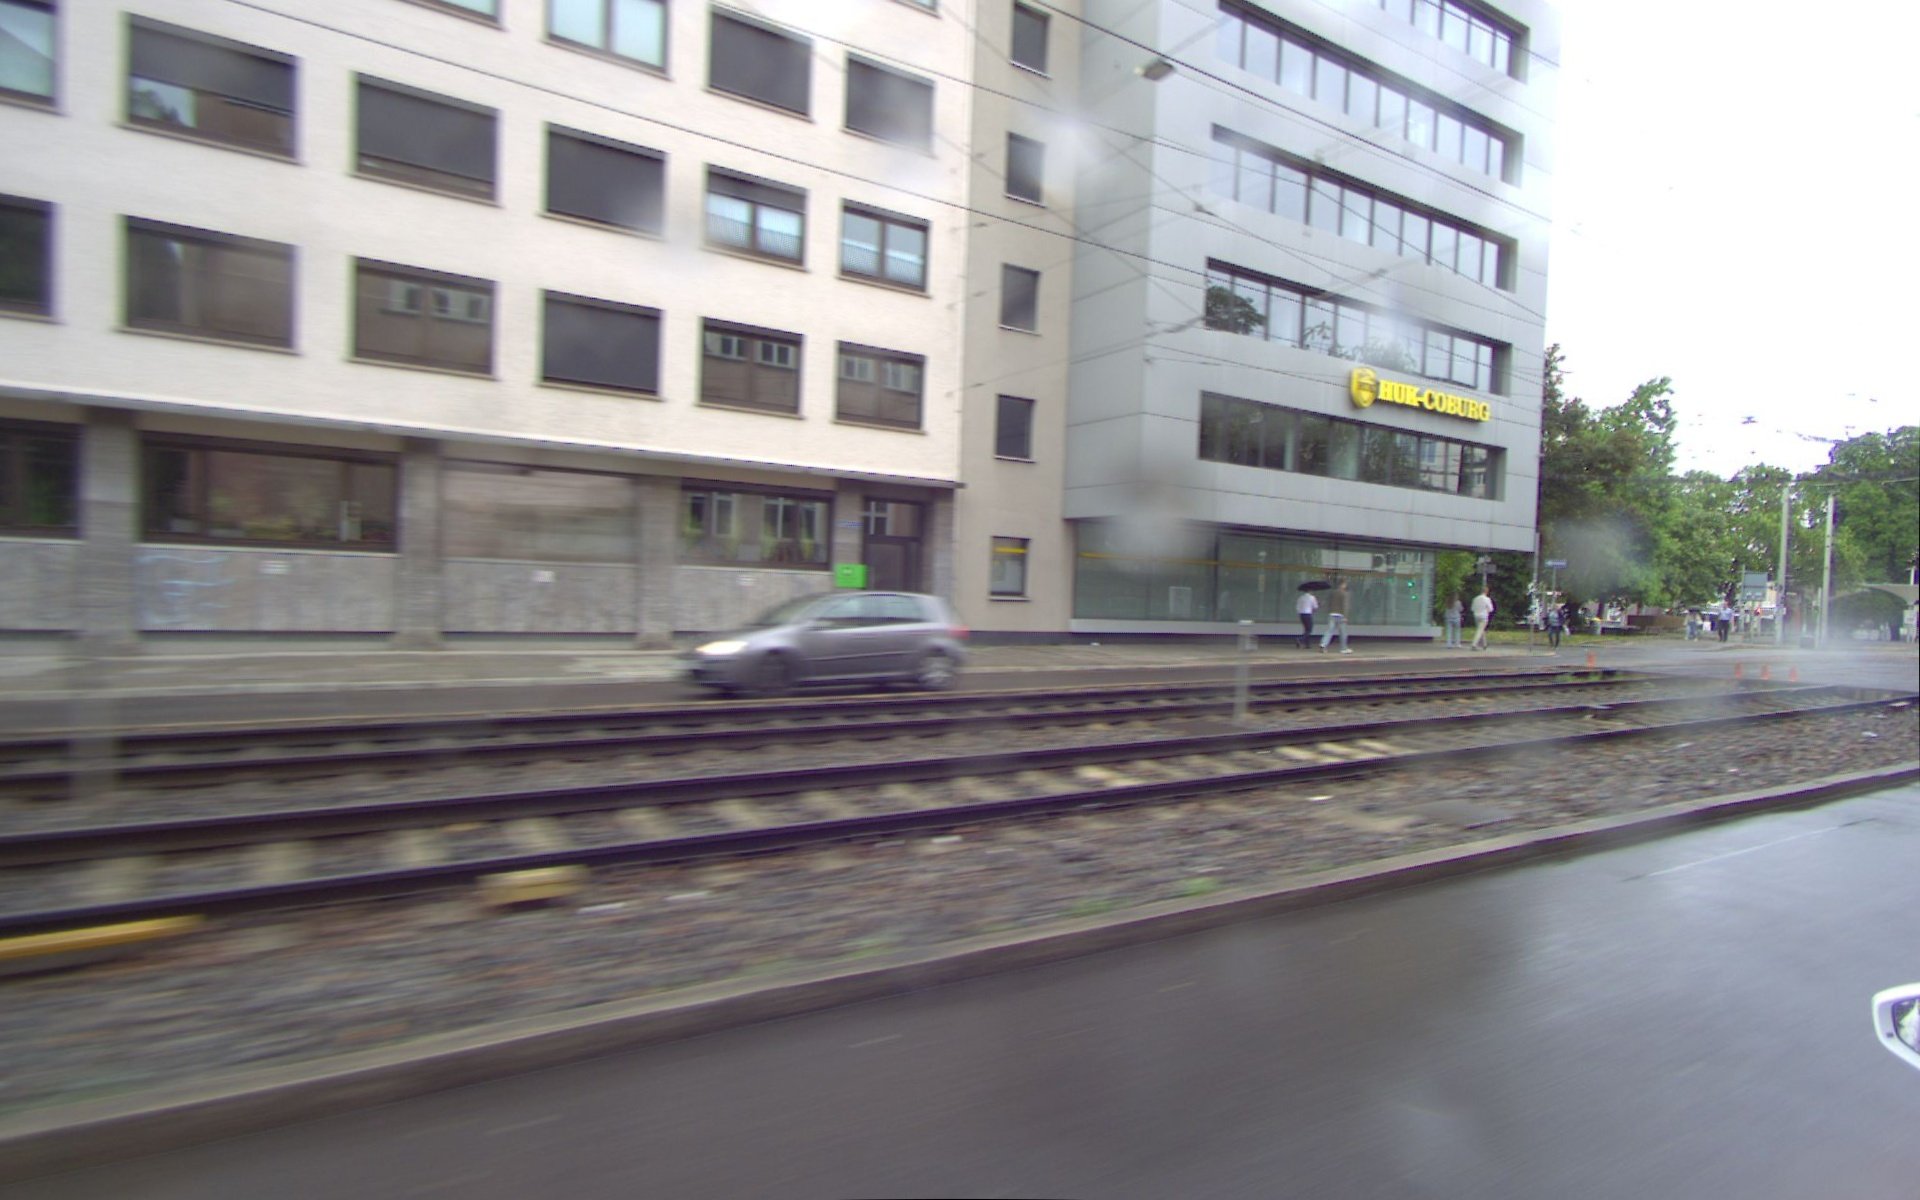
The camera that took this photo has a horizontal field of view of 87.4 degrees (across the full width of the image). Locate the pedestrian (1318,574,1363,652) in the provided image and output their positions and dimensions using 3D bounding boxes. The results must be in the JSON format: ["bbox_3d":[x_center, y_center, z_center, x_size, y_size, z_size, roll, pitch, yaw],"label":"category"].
[{"bbox_3d":[10.189,0.346,26.906,0.801,2.041,0.657,2,3,-31],"label":"pedestrian"}]

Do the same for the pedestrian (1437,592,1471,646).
[{"bbox_3d":[15.272,0.588,31.072,0.625,1.615,0.587,3,3,-14],"label":"pedestrian"}]

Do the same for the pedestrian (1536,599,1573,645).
[{"bbox_3d":[21.828,0.795,36.889,0.953,1.615,0.586,6,4,42],"label":"pedestrian"}]

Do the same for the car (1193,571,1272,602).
[{"bbox_3d":[13.749,-0.667,50.712,3.480,1.467,1.698,1,0,33],"label":"car"}]

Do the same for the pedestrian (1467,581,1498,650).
[{"bbox_3d":[15.836,0.449,30.457,0.650,2.041,0.617,4,3,21],"label":"pedestrian"}]

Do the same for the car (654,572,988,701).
[{"bbox_3d":[-1.893,0.512,14.242,4.305,1.556,1.927,2,-2,-35],"label":"car"}]

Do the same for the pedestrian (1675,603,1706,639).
[{"bbox_3d":[34.381,0.981,47.289,0.986,1.615,0.911,5,3,33],"label":"pedestrian"}]

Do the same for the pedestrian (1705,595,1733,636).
[{"bbox_3d":[36.959,0.744,48.943,0.898,1.888,1.000,5,3,34],"label":"pedestrian"}]

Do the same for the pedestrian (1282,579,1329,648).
[{"bbox_3d":[9.508,0.370,27.645,0.962,1.840,0.657,2,3,-31],"label":"pedestrian"}]
